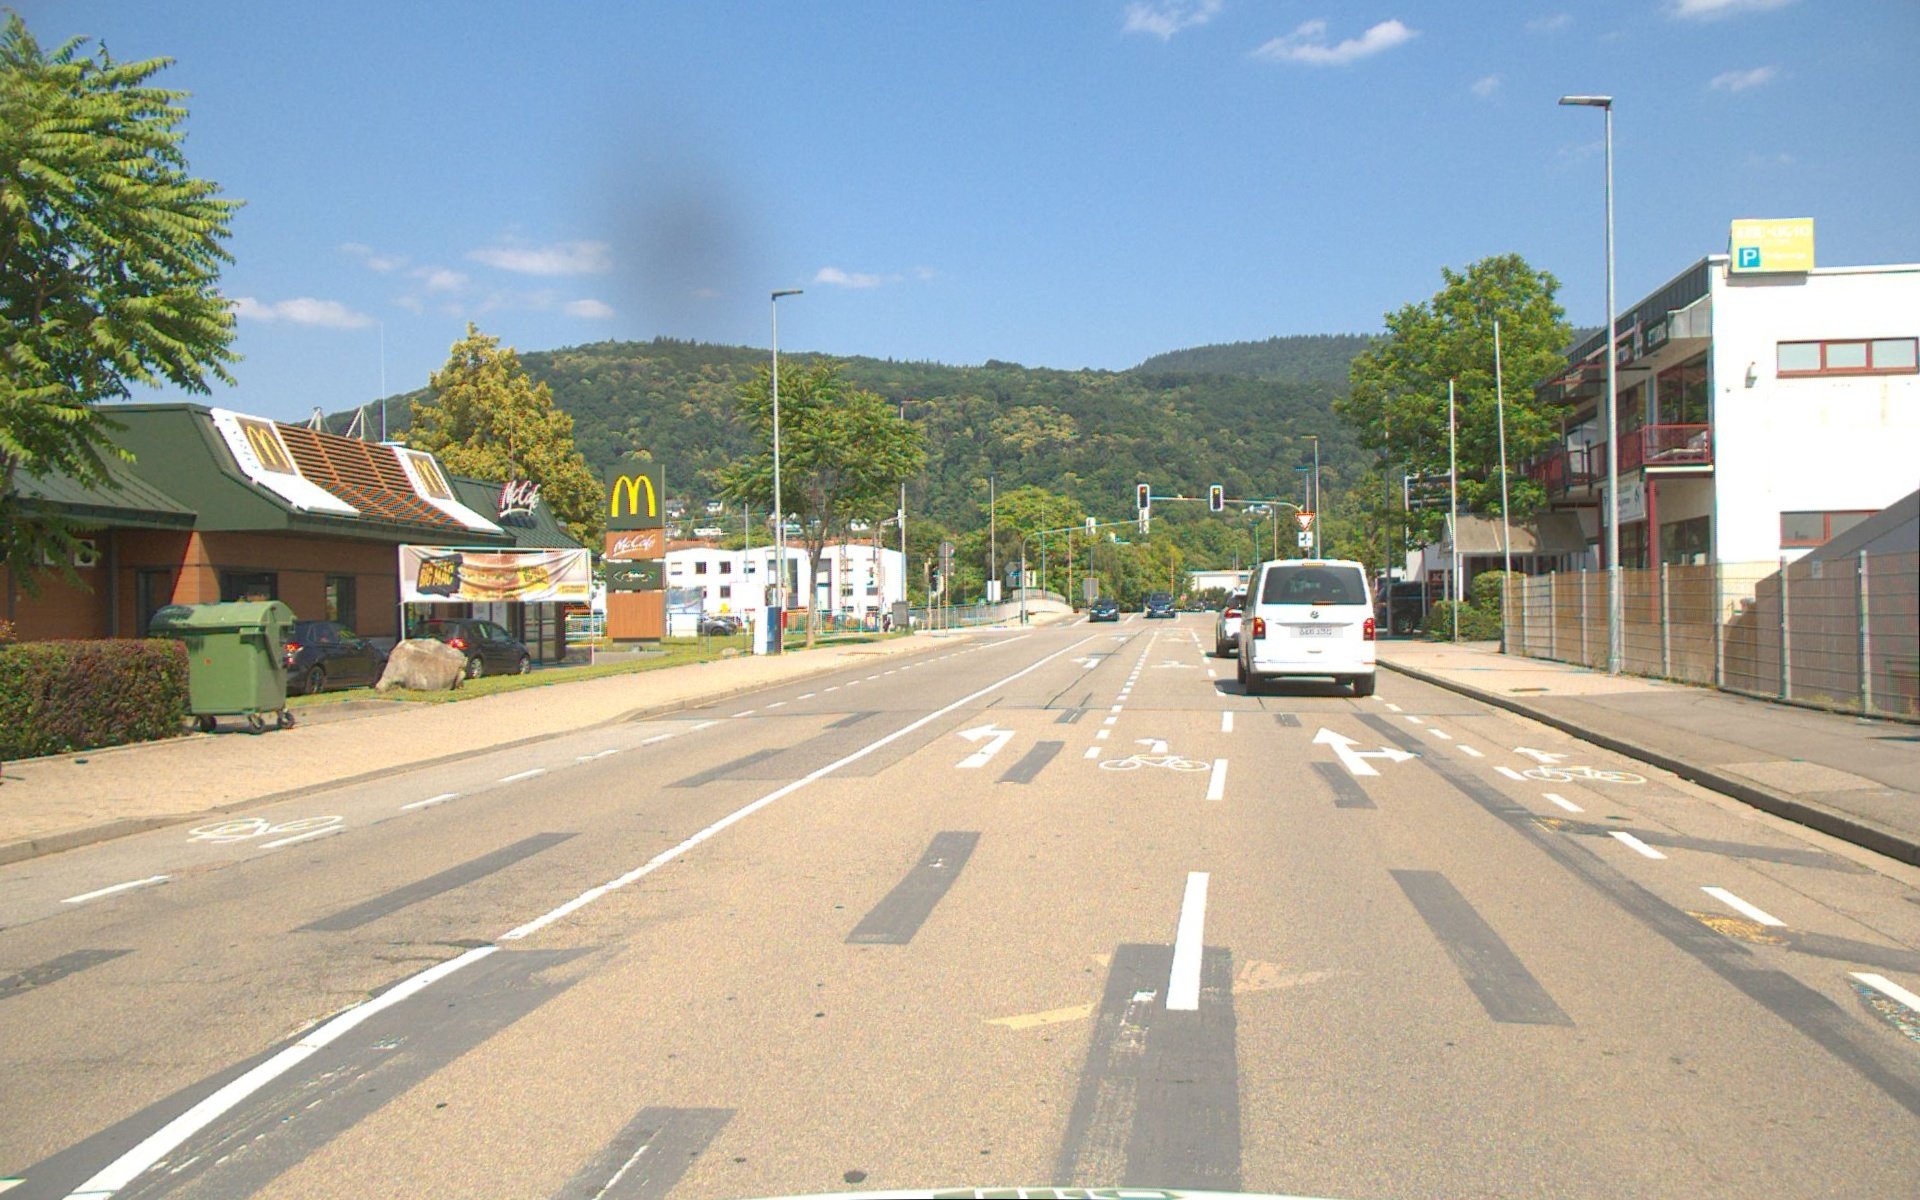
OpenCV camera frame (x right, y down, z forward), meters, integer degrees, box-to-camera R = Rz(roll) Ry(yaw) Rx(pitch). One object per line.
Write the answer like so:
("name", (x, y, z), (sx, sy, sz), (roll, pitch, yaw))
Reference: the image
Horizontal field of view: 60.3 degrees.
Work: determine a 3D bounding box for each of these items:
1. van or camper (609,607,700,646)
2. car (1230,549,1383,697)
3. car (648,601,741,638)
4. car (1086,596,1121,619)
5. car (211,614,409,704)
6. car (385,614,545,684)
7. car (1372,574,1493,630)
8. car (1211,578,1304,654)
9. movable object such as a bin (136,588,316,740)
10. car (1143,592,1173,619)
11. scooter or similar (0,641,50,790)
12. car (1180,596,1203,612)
("van or camper", (-13.611, 1.171, 73.756), (3.915, 1.601, 1.995), (1, 1, -10))
("car", (5.301, 0.298, 25.828), (1.893, 2.095, 4.548), (1, 1, 6))
("car", (-12.660, 0.911, 79.136), (4.232, 1.620, 1.998), (-2, 0, -6))
("car", (9.057, 0.458, 103.975), (1.951, 1.394, 4.330), (-2, 0, 8))
("car", (-12.506, 1.082, 32.133), (1.788, 1.502, 4.323), (1, 1, 6))
("car", (-11.529, 1.109, 38.814), (1.951, 1.441, 4.133), (1, 1, 10))
("car", (16.258, 0.070, 57.129), (3.902, 1.806, 2.002), (-1, 0, 14))
("car", (7.192, 0.360, 40.383), (1.893, 1.716, 4.547), (1, 0, 6))
("movable object such as a bin", (-8.253, 0.692, 18.680), (1.418, 1.618, 1.307), (-2, 0, -1))
("car", (12.841, 0.350, 107.288), (1.810, 1.616, 4.003), (-1, 0, 8))
("scooter or similar", (-7.901, 0.926, 12.911), (0.633, 1.147, 1.623), (2, 1, 1))
("car", (23.305, 0.411, 166.738), (1.952, 1.556, 4.046), (2, 1, 4))
